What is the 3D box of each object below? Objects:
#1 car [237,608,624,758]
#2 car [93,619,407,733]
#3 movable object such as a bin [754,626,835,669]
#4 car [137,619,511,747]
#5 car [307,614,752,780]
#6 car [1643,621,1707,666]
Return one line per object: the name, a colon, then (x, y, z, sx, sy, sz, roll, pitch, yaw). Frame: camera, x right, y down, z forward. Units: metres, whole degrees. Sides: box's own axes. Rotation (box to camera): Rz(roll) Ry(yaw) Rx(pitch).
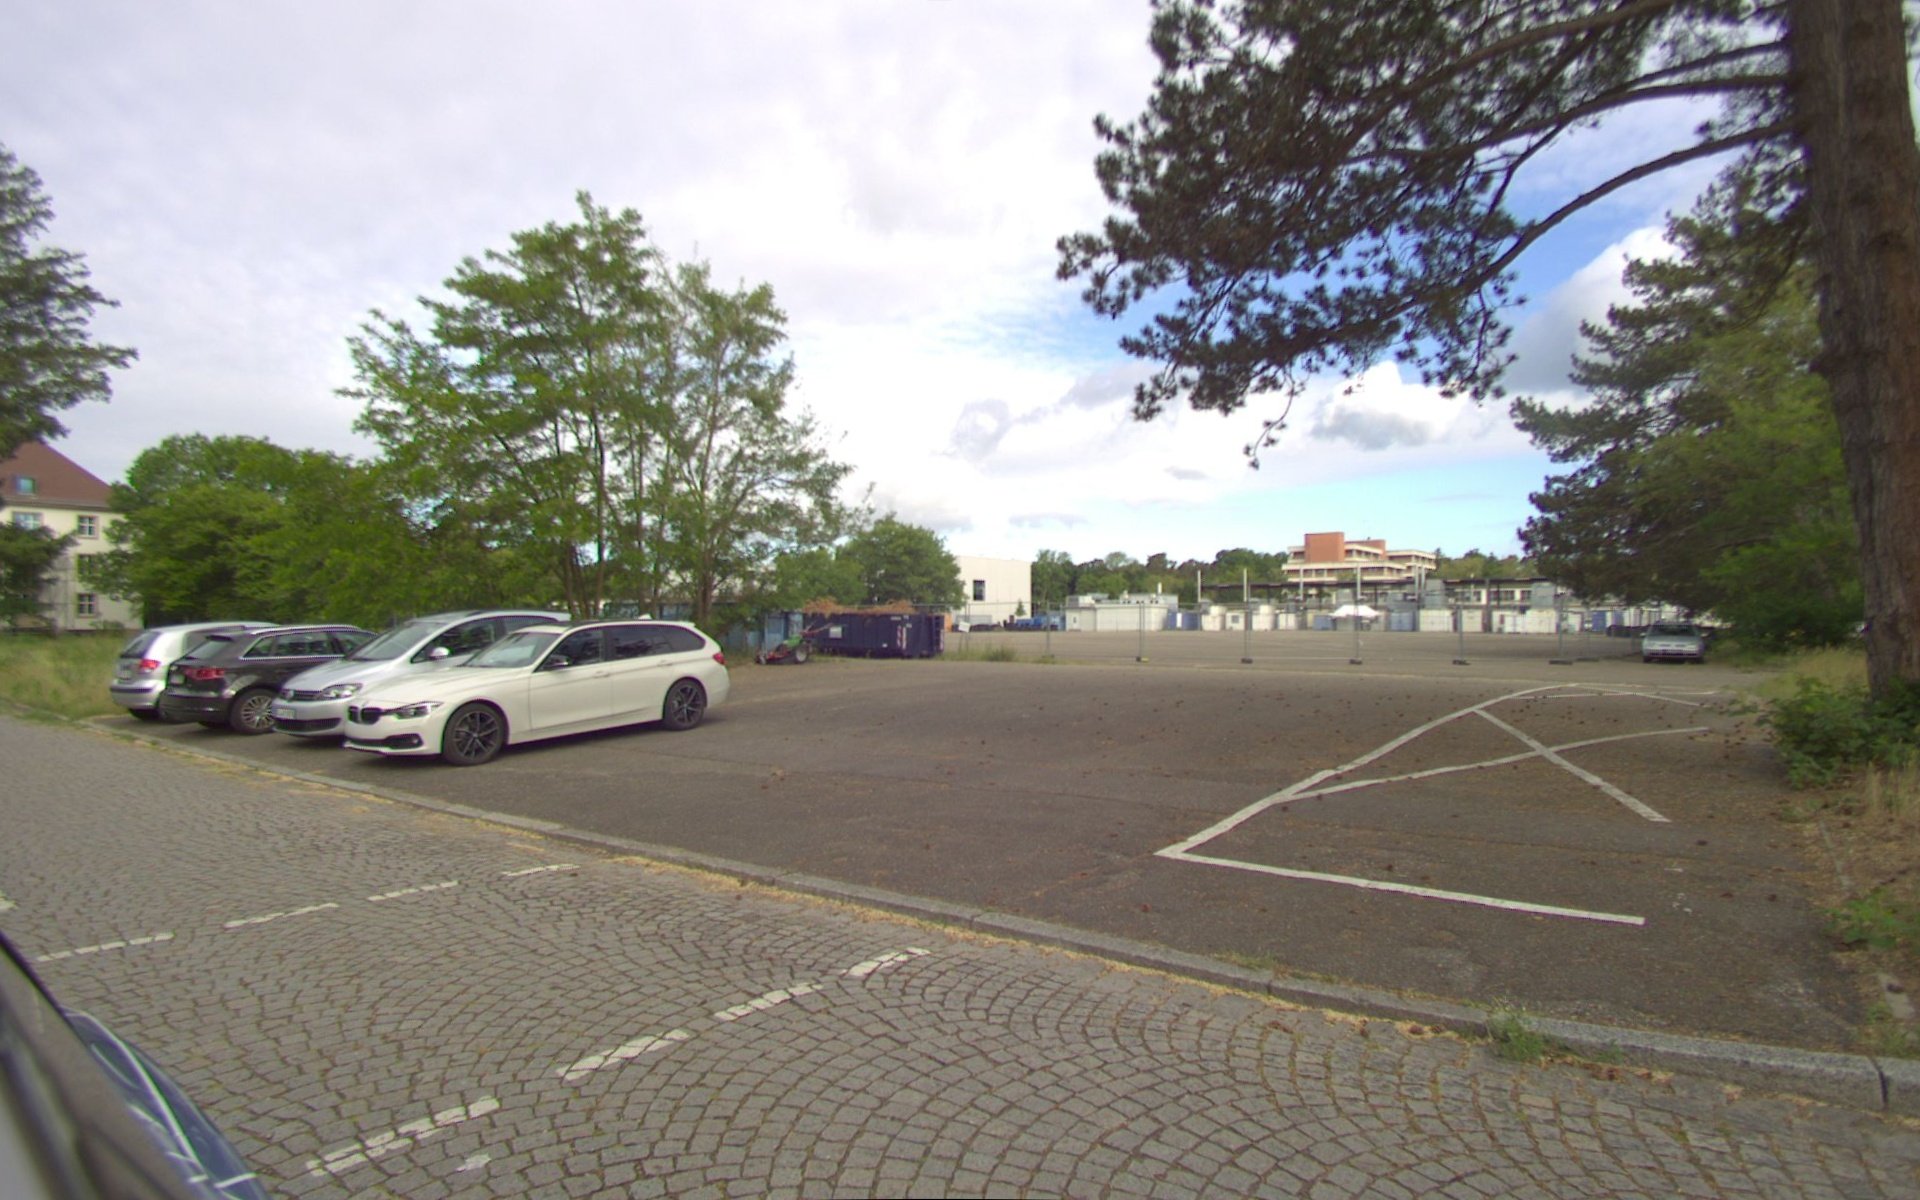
car: (-6.970, 0.969, 13.810, 1.866, 1.610, 4.330, -1, 0, 32)
car: (-11.490, 1.136, 16.633, 1.581, 1.481, 3.916, -1, 1, 34)
movable object such as a bin: (-4.528, 1.293, 27.786, 0.857, 1.134, 2.241, -1, -2, 36)
car: (-9.273, 1.098, 15.136, 1.718, 1.435, 4.396, -1, 1, 35)
car: (-4.925, 0.997, 12.286, 1.863, 1.499, 4.698, -2, -1, 35)
car: (25.165, 1.480, 35.592, 1.732, 1.443, 4.111, -1, -1, 36)
